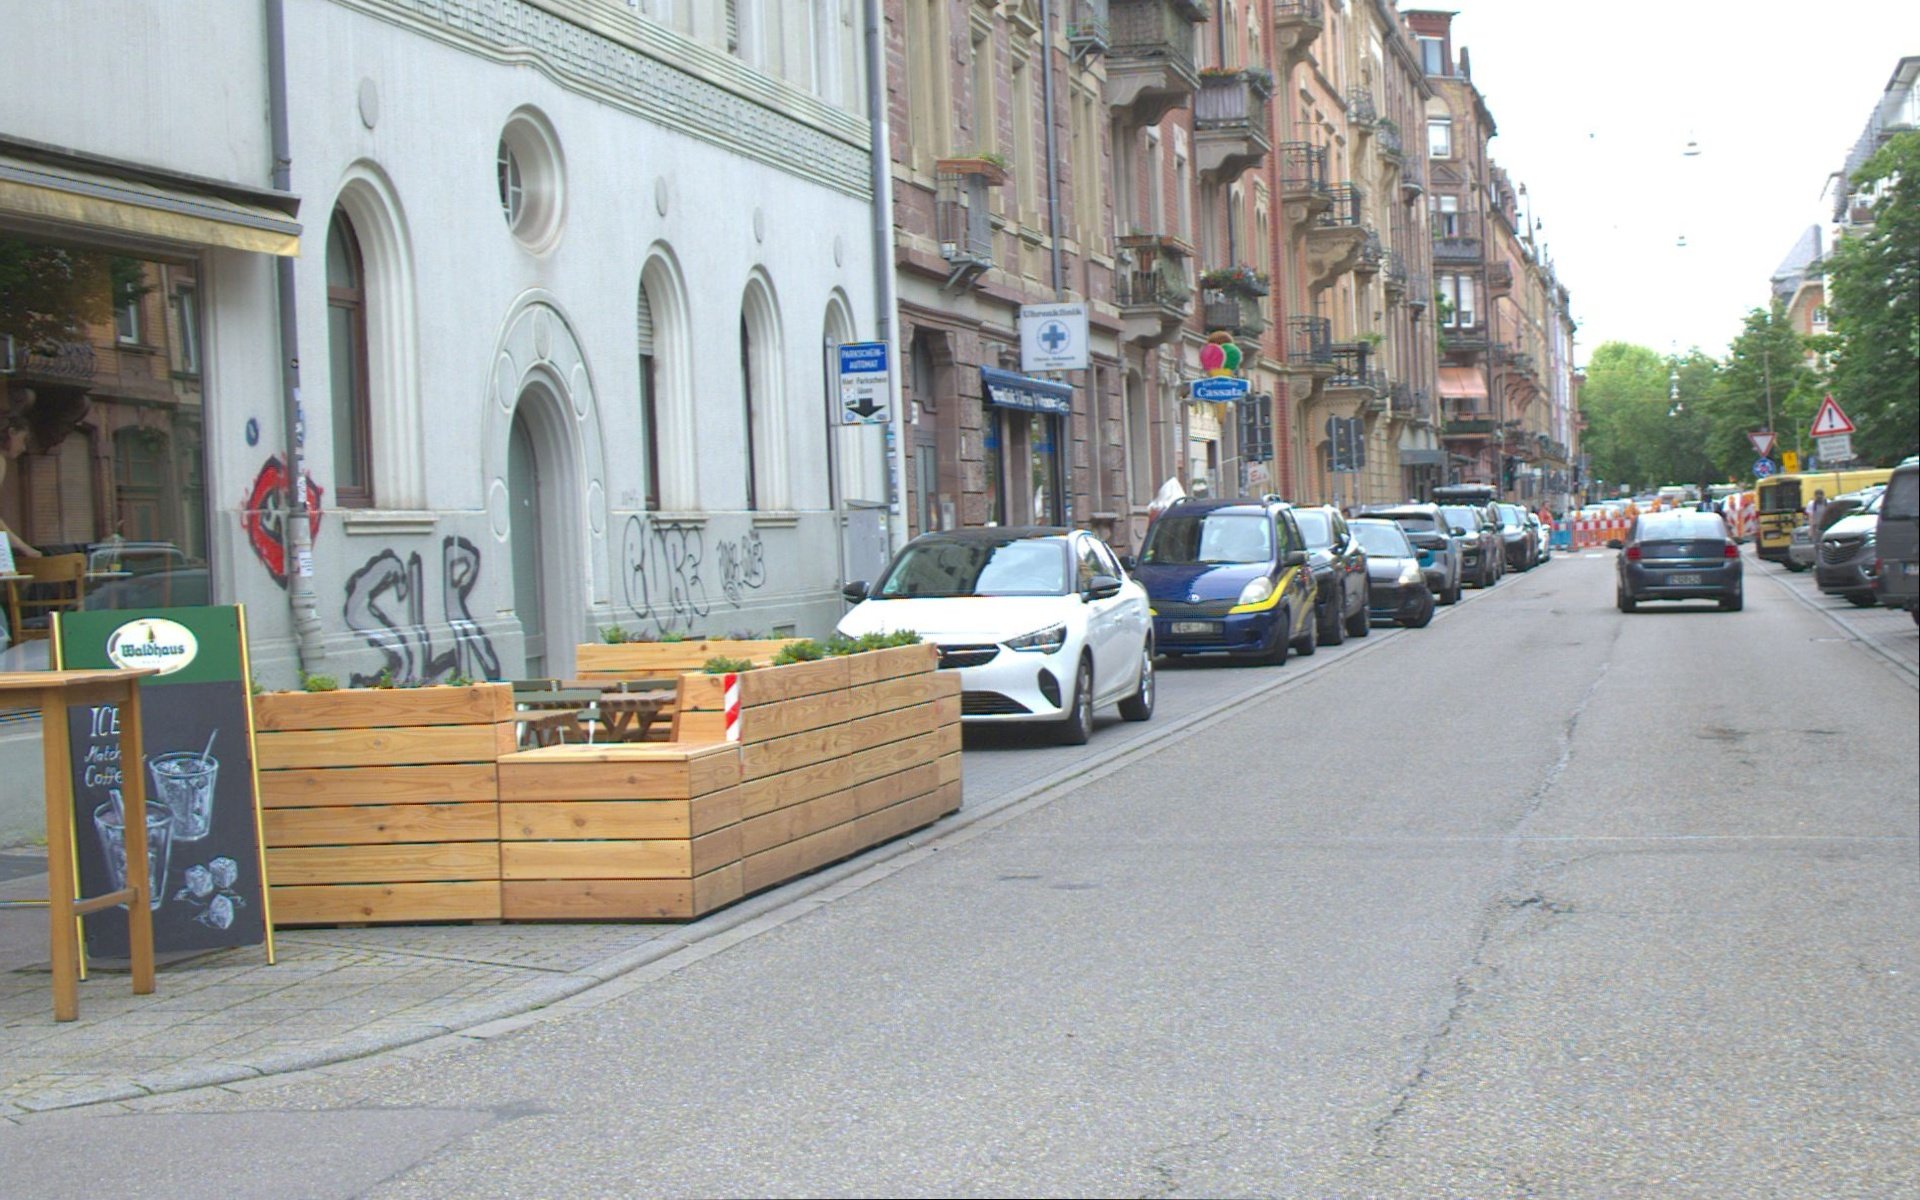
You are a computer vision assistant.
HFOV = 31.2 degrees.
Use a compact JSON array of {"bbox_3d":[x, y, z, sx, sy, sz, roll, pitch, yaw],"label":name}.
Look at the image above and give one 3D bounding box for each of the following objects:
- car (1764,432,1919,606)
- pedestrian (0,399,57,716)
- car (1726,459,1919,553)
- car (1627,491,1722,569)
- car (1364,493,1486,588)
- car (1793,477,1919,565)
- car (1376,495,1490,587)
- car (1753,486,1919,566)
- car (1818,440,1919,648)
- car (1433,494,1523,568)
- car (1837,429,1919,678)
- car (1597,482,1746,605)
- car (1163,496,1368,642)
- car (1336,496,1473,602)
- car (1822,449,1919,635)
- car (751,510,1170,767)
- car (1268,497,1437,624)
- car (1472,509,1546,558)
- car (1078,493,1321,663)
[{"bbox_3d":[14.542,-1.247,49.391,5.385,2.365,1.951,-3,0,-9],"label":"car"},{"bbox_3d":[-5.029,-0.208,17.513,0.743,1.588,0.619,-2,0,-19],"label":"pedestrian"},{"bbox_3d":[20.112,-2.148,77.096,5.385,1.861,1.951,-3,1,-18],"label":"car"},{"bbox_3d":[16.415,-1.595,79.164,1.994,1.675,3.998,-2,0,10],"label":"car"},{"bbox_3d":[8.387,-1.081,61.799,1.945,1.611,3.941,-1,1,11],"label":"car"},{"bbox_3d":[18.924,-1.609,66.022,5.385,1.548,1.951,-3,1,-18],"label":"car"},{"bbox_3d":[9.392,-1.178,68.021,1.945,1.736,3.941,-1,1,12],"label":"car"},{"bbox_3d":[19.534,-1.597,72.110,5.385,1.548,1.951,-2,1,-18],"label":"car"},{"bbox_3d":[10.881,-0.627,34.497,3.986,2.007,1.751,-2,1,-10],"label":"car"},{"bbox_3d":[12.879,-1.724,85.263,1.945,1.732,3.941,-2,1,12],"label":"car"},{"bbox_3d":[10.753,-0.547,30.501,5.606,2.120,1.951,-3,1,-22],"label":"car"},{"bbox_3d":[10.380,-0.803,50.363,1.994,1.675,3.998,-2,0,10],"label":"car"},{"bbox_3d":[3.654,-0.384,40.547,1.945,1.611,3.941,-1,1,12],"label":"car"},{"bbox_3d":[7.337,-0.855,56.498,1.945,1.611,3.941,-2,1,11],"label":"car"},{"bbox_3d":[12.493,-0.761,38.351,5.385,1.985,1.951,-3,1,-22],"label":"car"},{"bbox_3d":[0.103,0.208,23.708,1.945,1.548,3.815,-3,1,14],"label":"car"},{"bbox_3d":[5.336,-0.547,46.359,1.945,1.611,3.941,-1,1,11],"label":"car"},{"bbox_3d":[15.929,-1.935,99.875,1.994,1.316,3.999,-2,1,8],"label":"car"},{"bbox_3d":[2.513,-0.247,35.198,1.945,1.611,3.941,-1,1,12],"label":"car"}]
